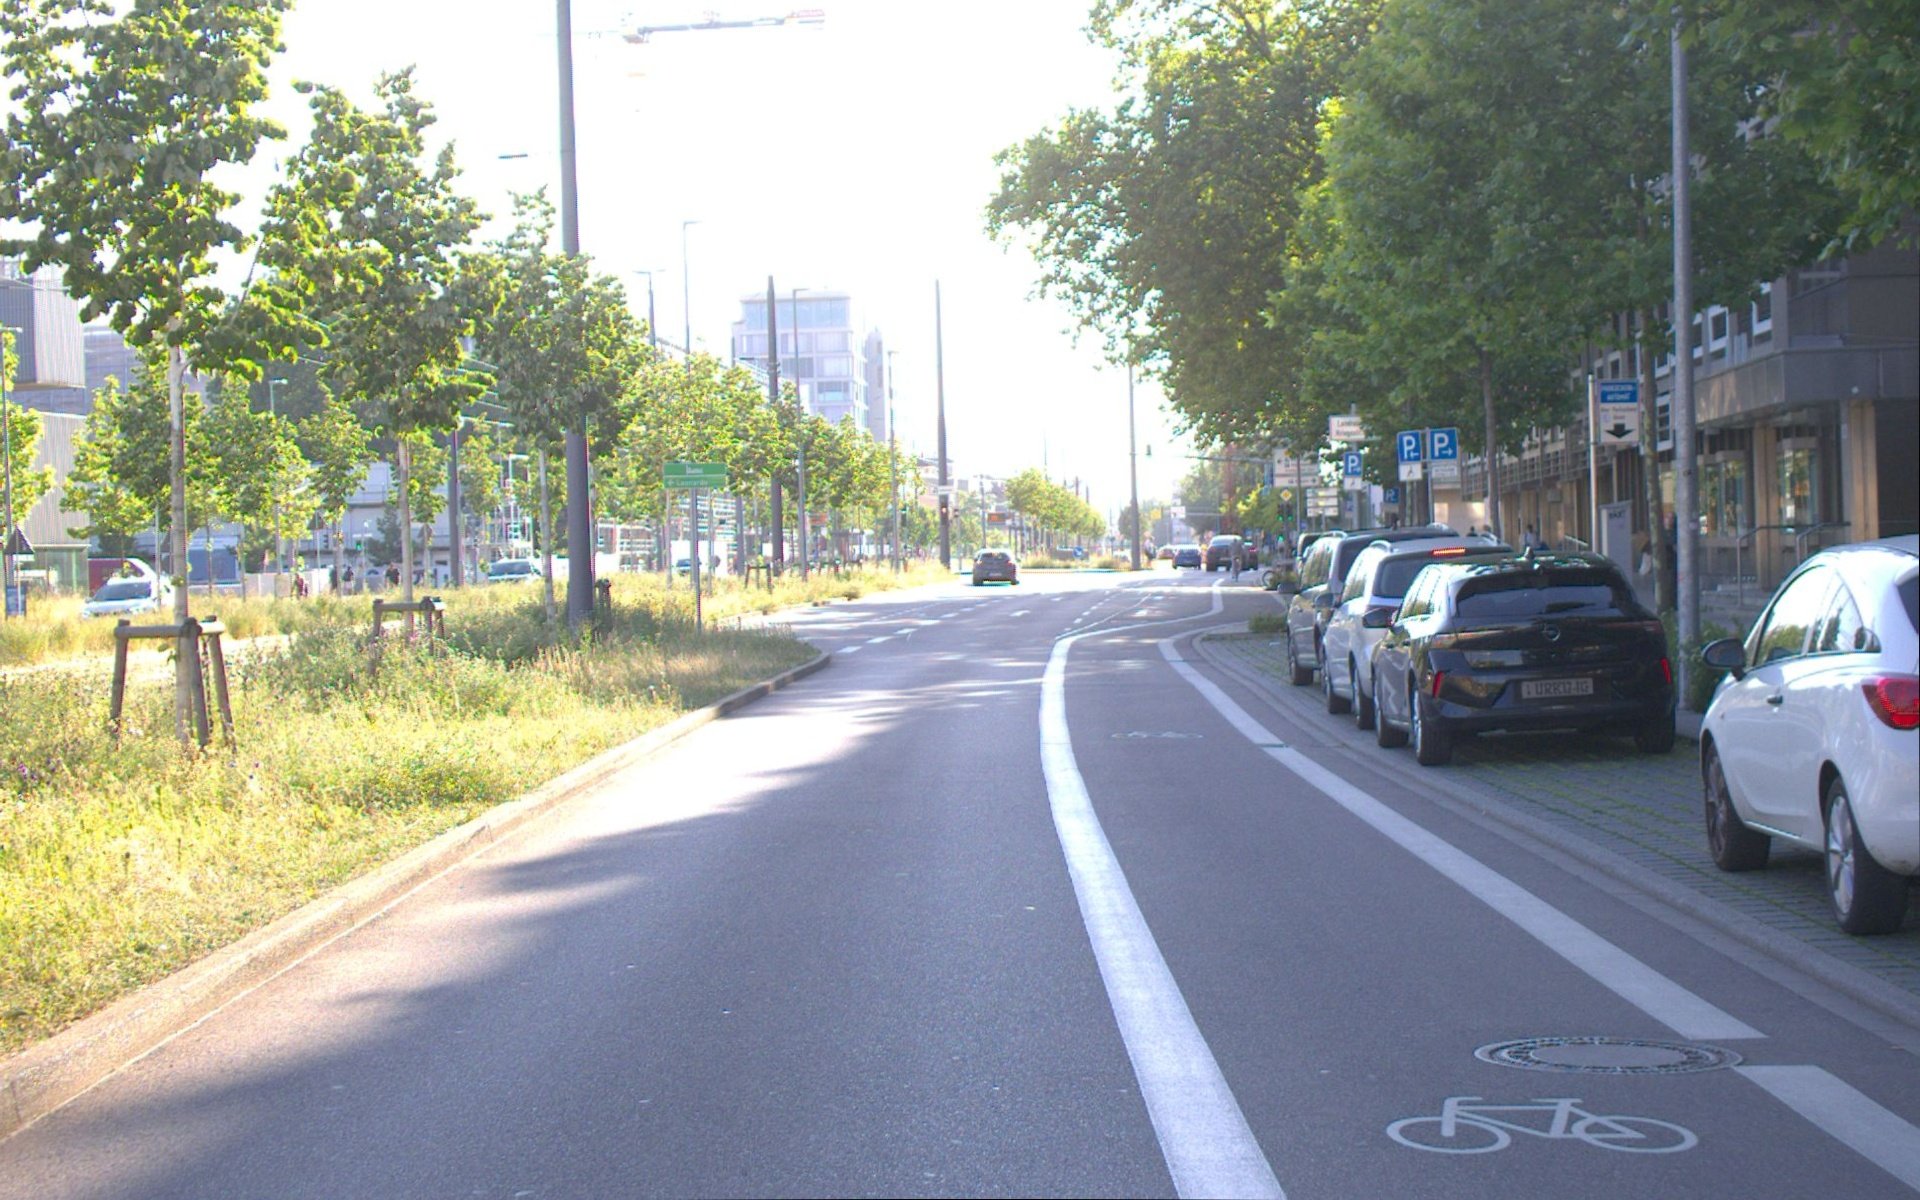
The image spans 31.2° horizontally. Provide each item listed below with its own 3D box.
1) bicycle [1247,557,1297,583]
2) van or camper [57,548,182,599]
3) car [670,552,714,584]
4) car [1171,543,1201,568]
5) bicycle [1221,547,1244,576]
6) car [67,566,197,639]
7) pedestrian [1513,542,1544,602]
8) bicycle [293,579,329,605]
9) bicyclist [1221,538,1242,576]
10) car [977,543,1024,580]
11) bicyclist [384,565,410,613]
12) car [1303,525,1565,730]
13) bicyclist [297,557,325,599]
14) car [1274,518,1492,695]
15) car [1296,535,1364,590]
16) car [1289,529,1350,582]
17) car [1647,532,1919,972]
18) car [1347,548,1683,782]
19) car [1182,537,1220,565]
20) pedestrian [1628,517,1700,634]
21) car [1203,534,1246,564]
[{"bbox_3d":[11.263,-1.087,124.201,1.693,0.864,0.572,-3,1,13],"label":"bicycle"},{"bbox_3d":[-42.400,-1.352,173.487,5.661,2.406,2.154,-2,1,6],"label":"van or camper"},{"bbox_3d":[-15.877,-1.904,203.920,1.994,1.770,4.000,-1,1,4],"label":"car"},{"bbox_3d":[14.343,-2.836,218.584,1.759,1.479,3.850,-2,1,2],"label":"car"},{"bbox_3d":[11.515,-1.642,145.169,0.800,1.200,2.263,-1,1,8],"label":"bicycle"},{"bbox_3d":[-19.903,0.028,82.839,1.994,1.637,4.167,-1,1,2],"label":"car"},{"bbox_3d":[17.731,-0.873,107.170,0.831,1.850,0.847,-1,1,3],"label":"pedestrian"},{"bbox_3d":[-21.127,-0.252,111.921,0.687,0.801,2.145,-1,1,2],"label":"bicycle"},{"bbox_3d":[11.443,-1.818,144.870,0.800,1.596,0.785,-1,1,0],"label":"bicyclist"},{"bbox_3d":[1.644,-1.562,138.947,1.777,1.423,4.000,-1,1,2],"label":"car"},{"bbox_3d":[-20.383,-0.389,124.439,0.688,1.702,0.954,-1,1,4],"label":"bicyclist"},{"bbox_3d":[4.182,0.189,30.936,1.728,1.616,4.216,-3,1,1],"label":"car"},{"bbox_3d":[-21.124,-0.714,111.865,0.687,1.342,0.871,-1,1,2],"label":"bicyclist"},{"bbox_3d":[4.462,0.025,36.869,1.728,1.682,4.514,-3,1,1],"label":"car"},{"bbox_3d":[10.513,-1.091,97.831,1.706,1.413,4.276,-4,1,4],"label":"car"},{"bbox_3d":[11.475,-1.437,109.544,1.682,1.509,5.058,-4,1,8],"label":"car"},{"bbox_3d":[4.085,0.489,14.306,1.664,1.485,4.203,-3,1,2],"label":"car"},{"bbox_3d":[3.974,0.405,25.285,1.794,1.444,4.376,-3,1,2],"label":"car"},{"bbox_3d":[13.321,-2.732,189.999,1.940,1.479,3.925,-2,1,2],"label":"car"},{"bbox_3d":[10.225,-0.358,49.958,0.789,1.643,1.137,-2,1,2],"label":"pedestrian"},{"bbox_3d":[13.166,-2.555,171.562,1.940,1.423,3.925,-2,1,2],"label":"car"}]
